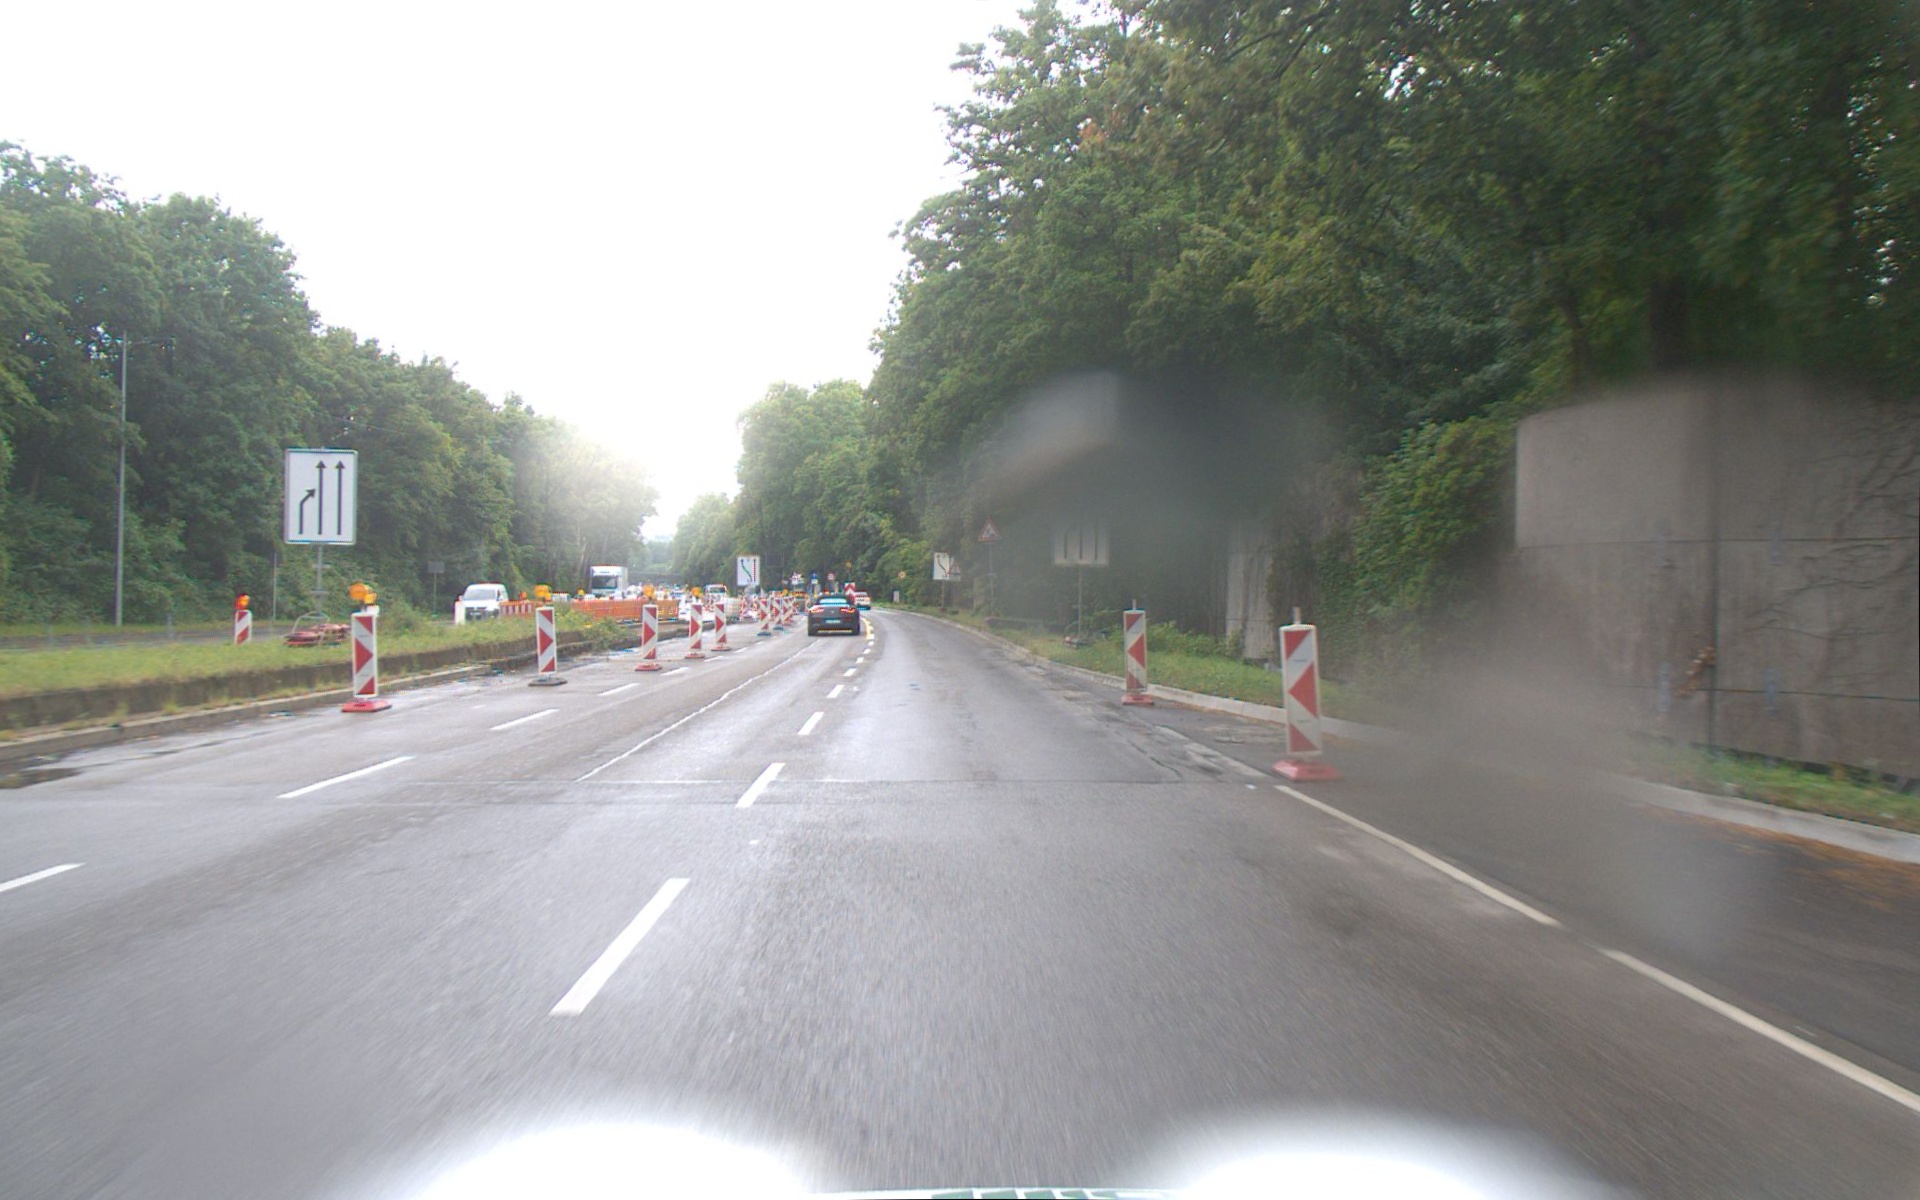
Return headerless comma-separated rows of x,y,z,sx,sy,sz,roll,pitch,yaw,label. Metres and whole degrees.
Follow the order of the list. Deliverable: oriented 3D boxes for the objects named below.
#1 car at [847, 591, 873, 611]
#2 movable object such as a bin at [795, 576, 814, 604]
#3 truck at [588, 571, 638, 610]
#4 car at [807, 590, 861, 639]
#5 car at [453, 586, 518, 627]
-8.446,0.060,139.645,1.878,1.626,4.826,0,1,-7,car
-16.138,-1.038,171.504,1.714,2.917,3.527,-1,0,-9,movable object such as a bin
-29.244,-0.787,139.777,2.740,3.203,10.139,0,0,-4,truck
-4.508,0.498,59.400,1.825,1.517,3.998,1,3,-4,car
-21.957,0.265,76.685,1.876,1.812,4.831,0,1,-3,car
